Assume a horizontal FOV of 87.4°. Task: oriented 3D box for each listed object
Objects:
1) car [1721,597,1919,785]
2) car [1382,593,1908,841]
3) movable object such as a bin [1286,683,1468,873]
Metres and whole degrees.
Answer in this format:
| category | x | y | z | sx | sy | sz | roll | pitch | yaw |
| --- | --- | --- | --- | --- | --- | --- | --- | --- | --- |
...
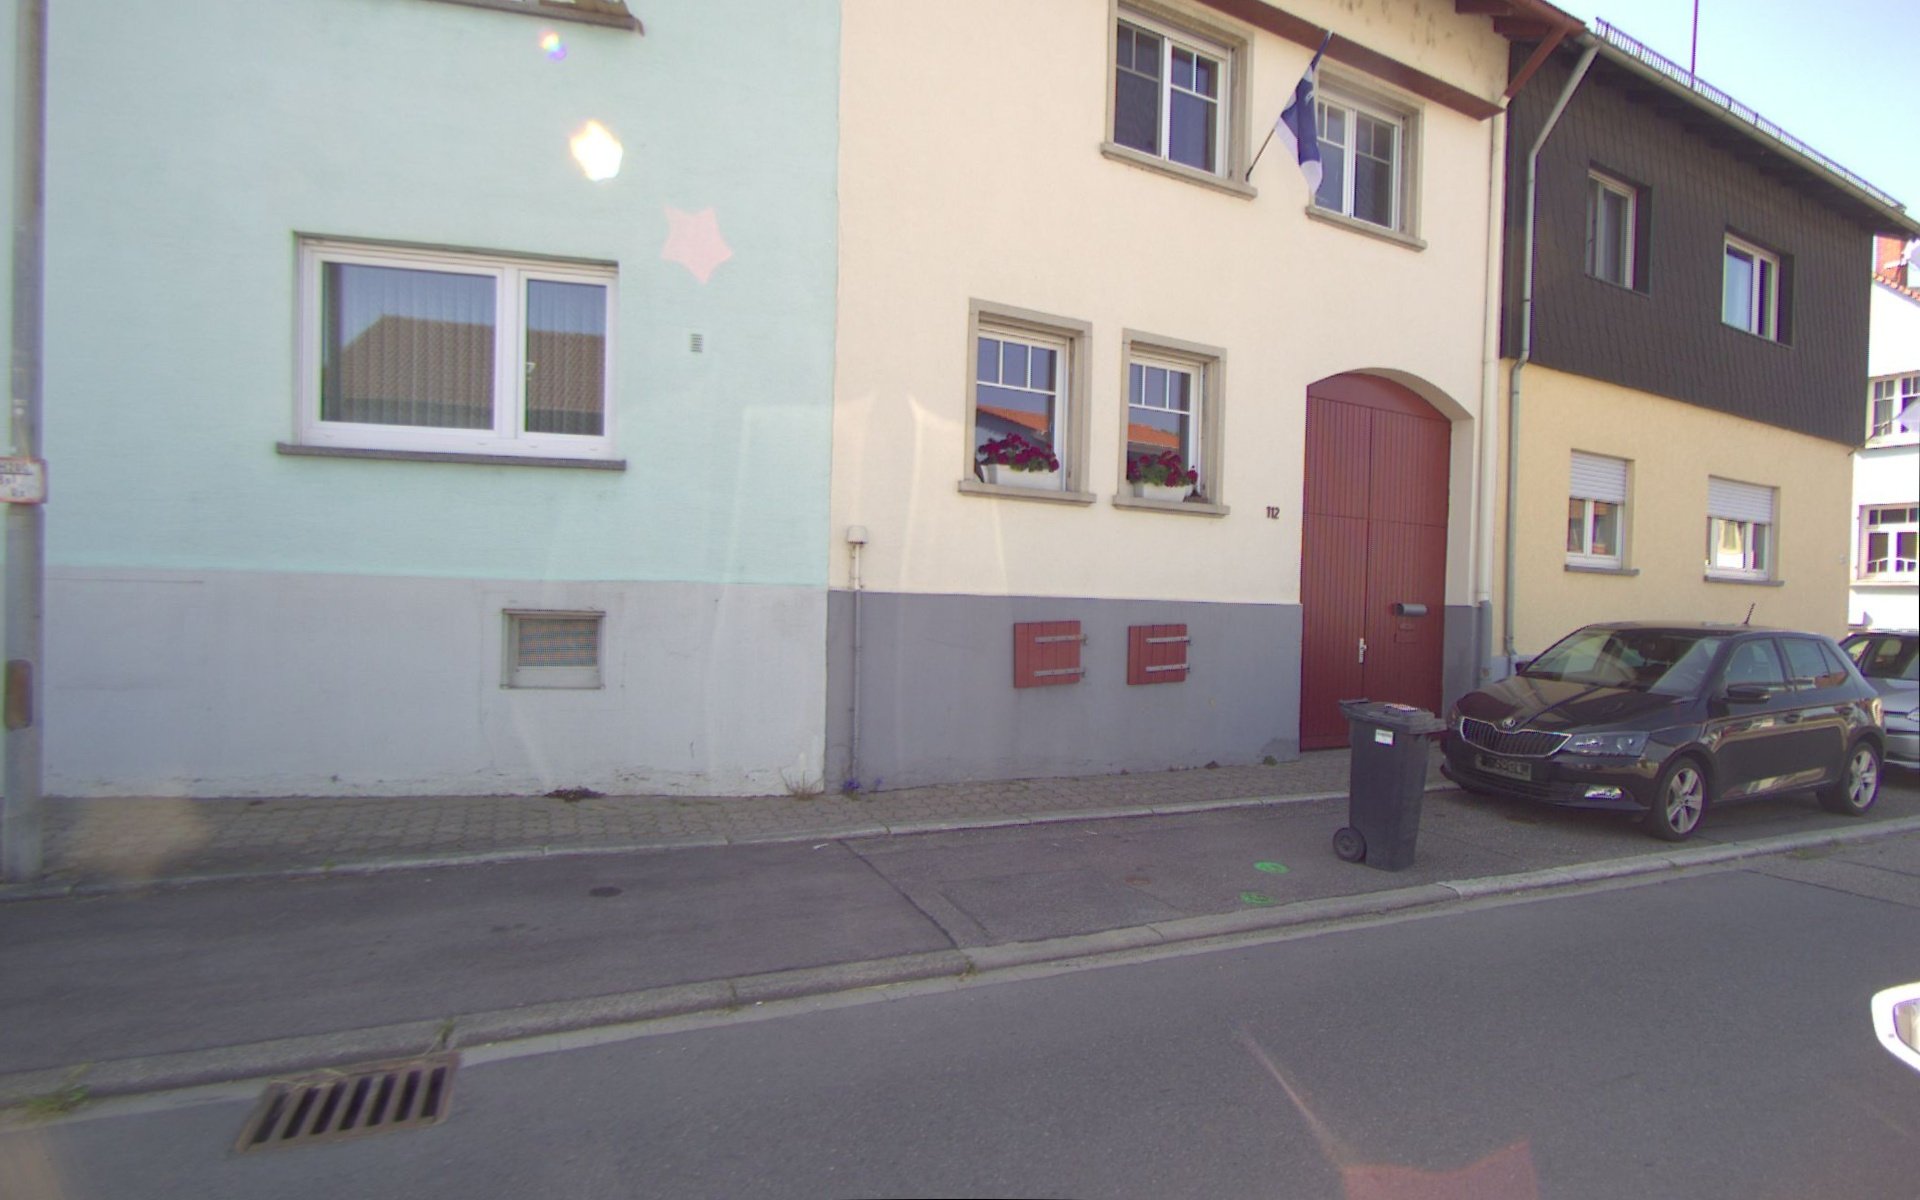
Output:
| category | x | y | z | sx | sy | sz | roll | pitch | yaw |
| --- | --- | --- | --- | --- | --- | --- | --- | --- | --- |
| car | 9.791 | 0.867 | 10.263 | 3.733 | 1.521 | 1.634 | 2 | 4 | -27 |
| car | 5.486 | 0.820 | 8.005 | 3.944 | 1.456 | 1.672 | 2 | 4 | -27 |
| movable object such as a bin | 2.460 | 1.012 | 5.940 | 0.816 | 0.941 | 0.548 | 1 | 6 | -32 |
